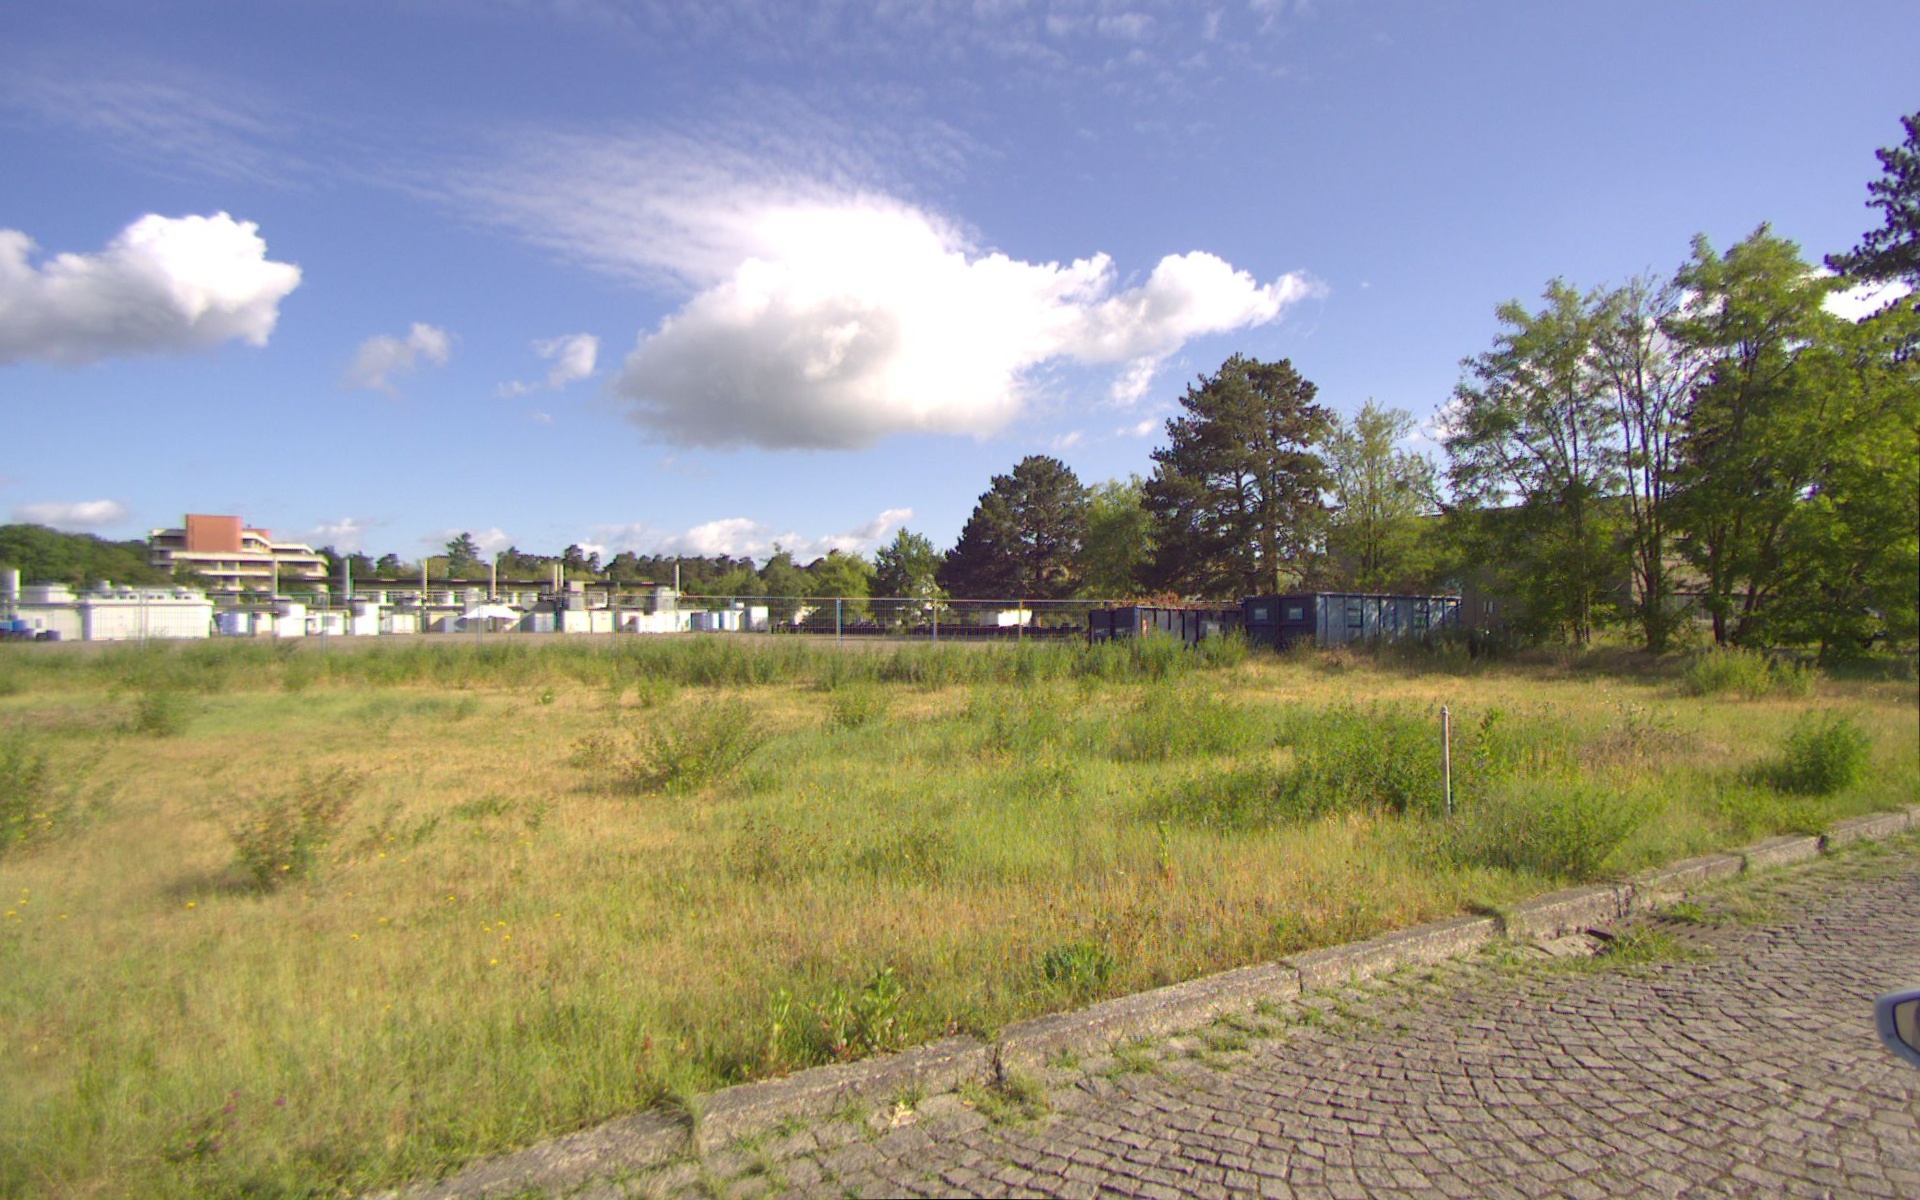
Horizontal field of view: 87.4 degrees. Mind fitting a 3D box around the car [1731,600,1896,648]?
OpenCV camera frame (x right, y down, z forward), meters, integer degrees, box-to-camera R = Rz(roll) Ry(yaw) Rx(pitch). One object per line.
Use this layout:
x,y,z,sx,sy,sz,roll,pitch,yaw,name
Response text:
30.900,0.871,36.485,1.985,1.630,4.127,0,-1,-28,car
